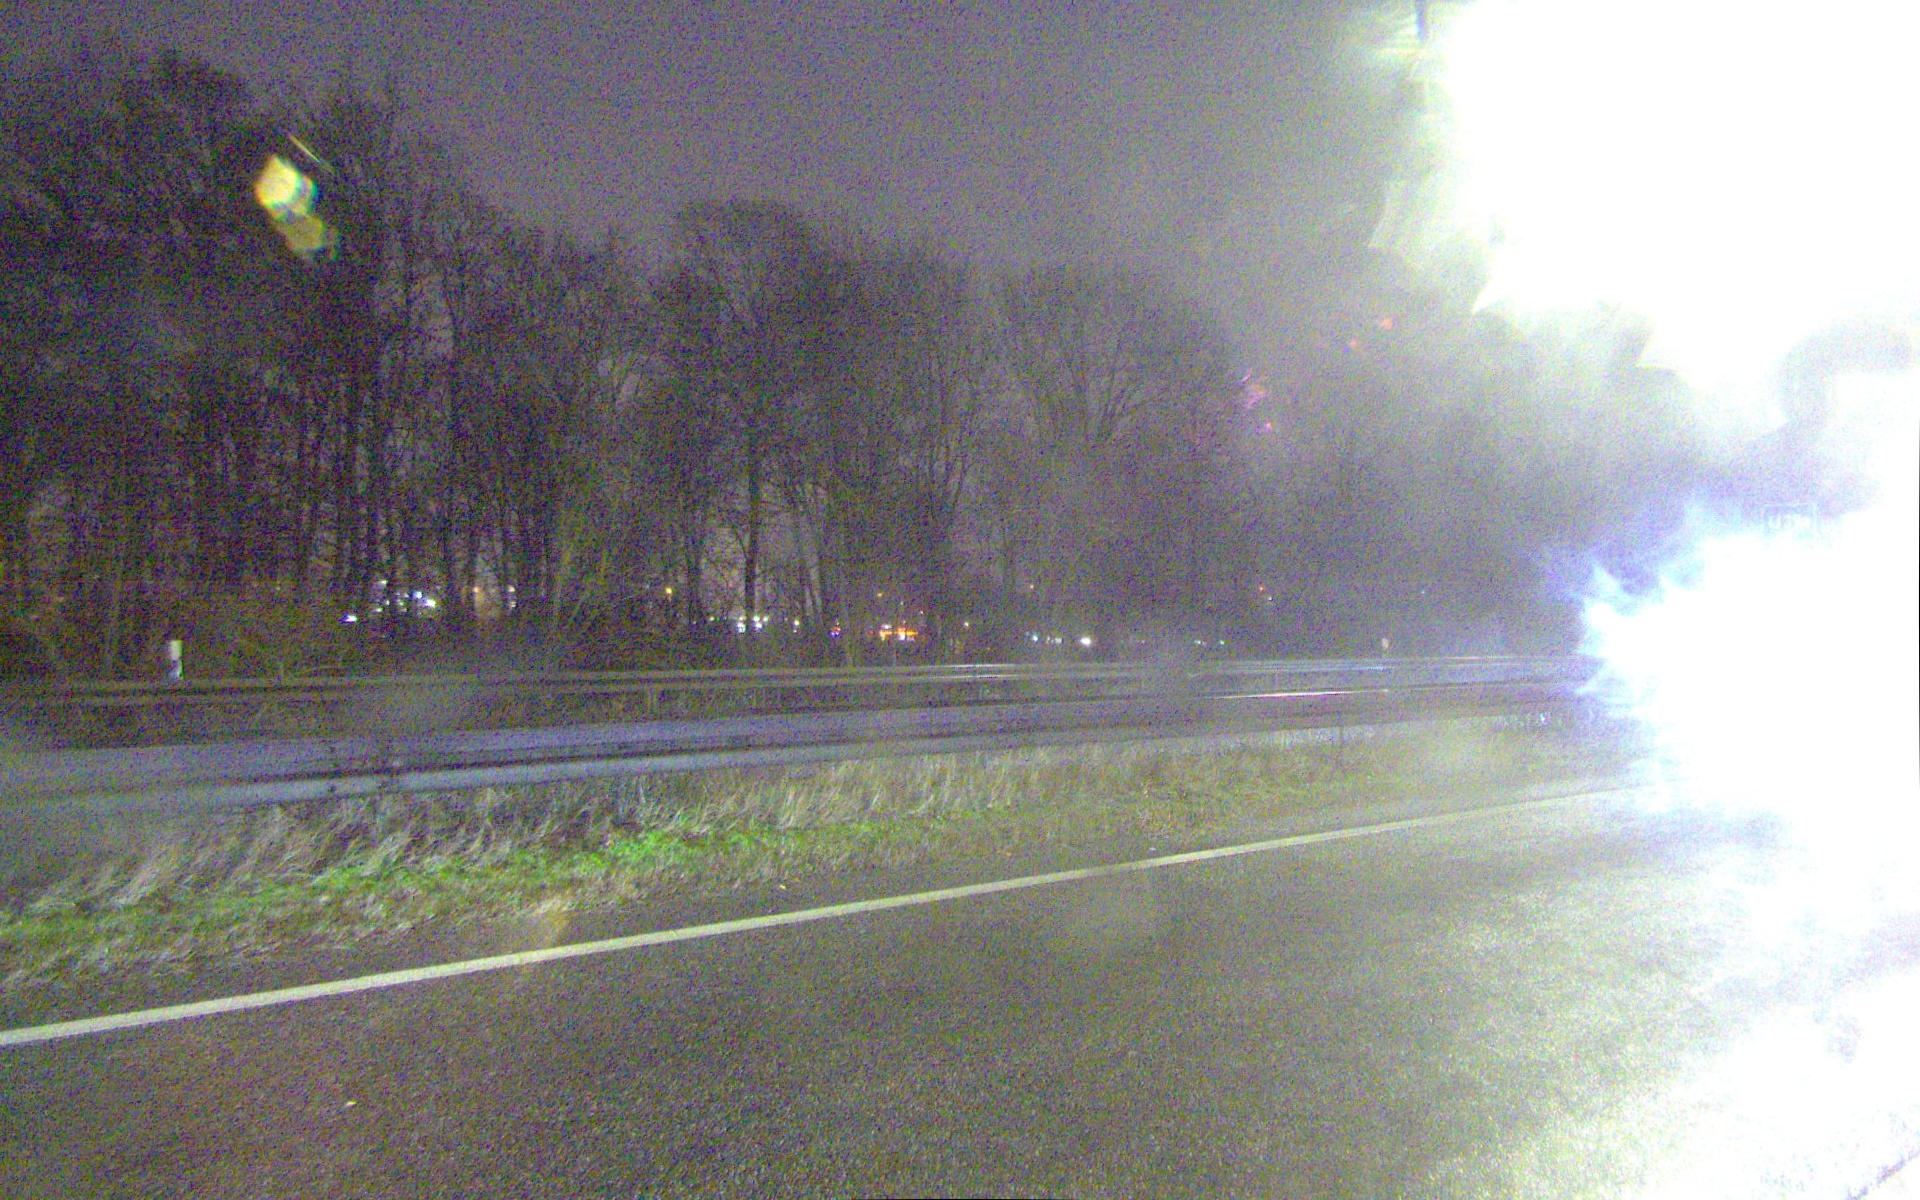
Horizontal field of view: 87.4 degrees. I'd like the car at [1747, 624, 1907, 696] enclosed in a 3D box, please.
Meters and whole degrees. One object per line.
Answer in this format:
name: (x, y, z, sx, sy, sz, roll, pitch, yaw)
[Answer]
car: (20.516, 1.367, 23.750, 3.964, 1.572, 1.743, 1, -1, -31)
